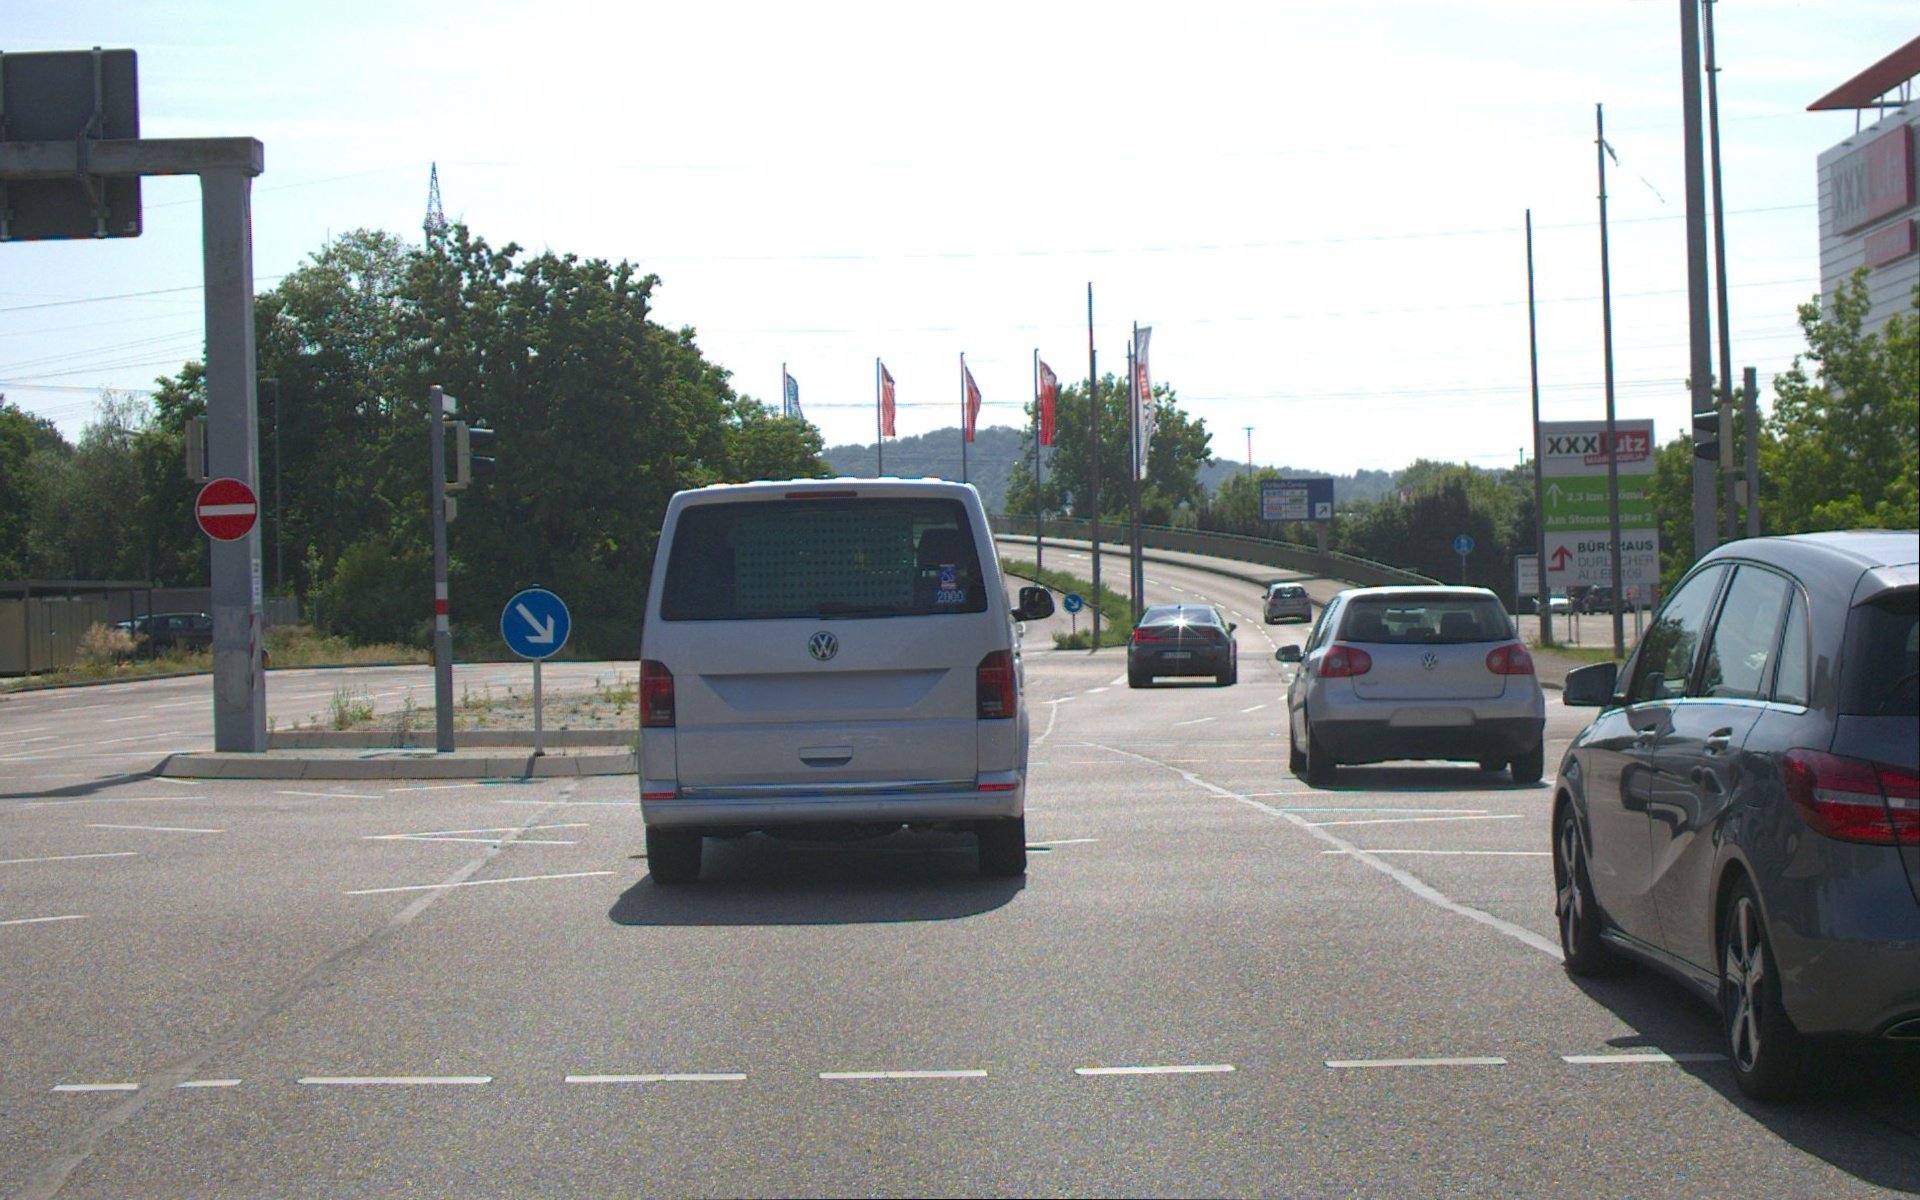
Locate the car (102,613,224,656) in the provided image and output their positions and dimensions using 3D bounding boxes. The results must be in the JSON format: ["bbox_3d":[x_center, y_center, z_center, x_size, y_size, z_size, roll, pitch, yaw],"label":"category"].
[{"bbox_3d":[-28.505,1.237,122.939,4.098,1.415,1.729,-1,-1,-19],"label":"car"}]

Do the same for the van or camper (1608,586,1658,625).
[{"bbox_3d":[39.665,0.341,202.740,2.098,2.171,5.437,1,-1,2],"label":"van or camper"}]

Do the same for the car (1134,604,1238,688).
[{"bbox_3d":[4.154,0.816,62.803,1.531,1.475,3.245,0,0,10],"label":"car"}]

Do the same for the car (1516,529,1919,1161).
[{"bbox_3d":[2.917,0.576,10.426,1.773,1.534,4.138,0,0,0],"label":"car"}]

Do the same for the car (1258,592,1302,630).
[{"bbox_3d":[12.515,0.442,134.431,1.531,1.475,3.425,0,0,2],"label":"car"}]

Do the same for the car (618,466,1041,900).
[{"bbox_3d":[-0.612,0.371,17.801,1.917,1.968,4.297,0,0,0],"label":"car"}]

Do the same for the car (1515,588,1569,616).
[{"bbox_3d":[33.449,0.128,197.785,1.883,1.514,4.001,1,-1,-9],"label":"car"}]

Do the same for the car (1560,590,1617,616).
[{"bbox_3d":[36.168,0.200,197.805,1.993,1.415,4.001,1,-1,-9],"label":"car"}]

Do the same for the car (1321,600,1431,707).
[{"bbox_3d":[5.989,0.747,49.594,1.531,1.475,3.595,0,0,7],"label":"car"}]

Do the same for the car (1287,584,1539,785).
[{"bbox_3d":[3.390,0.640,26.284,1.667,1.409,3.681,-1,-1,4],"label":"car"}]
